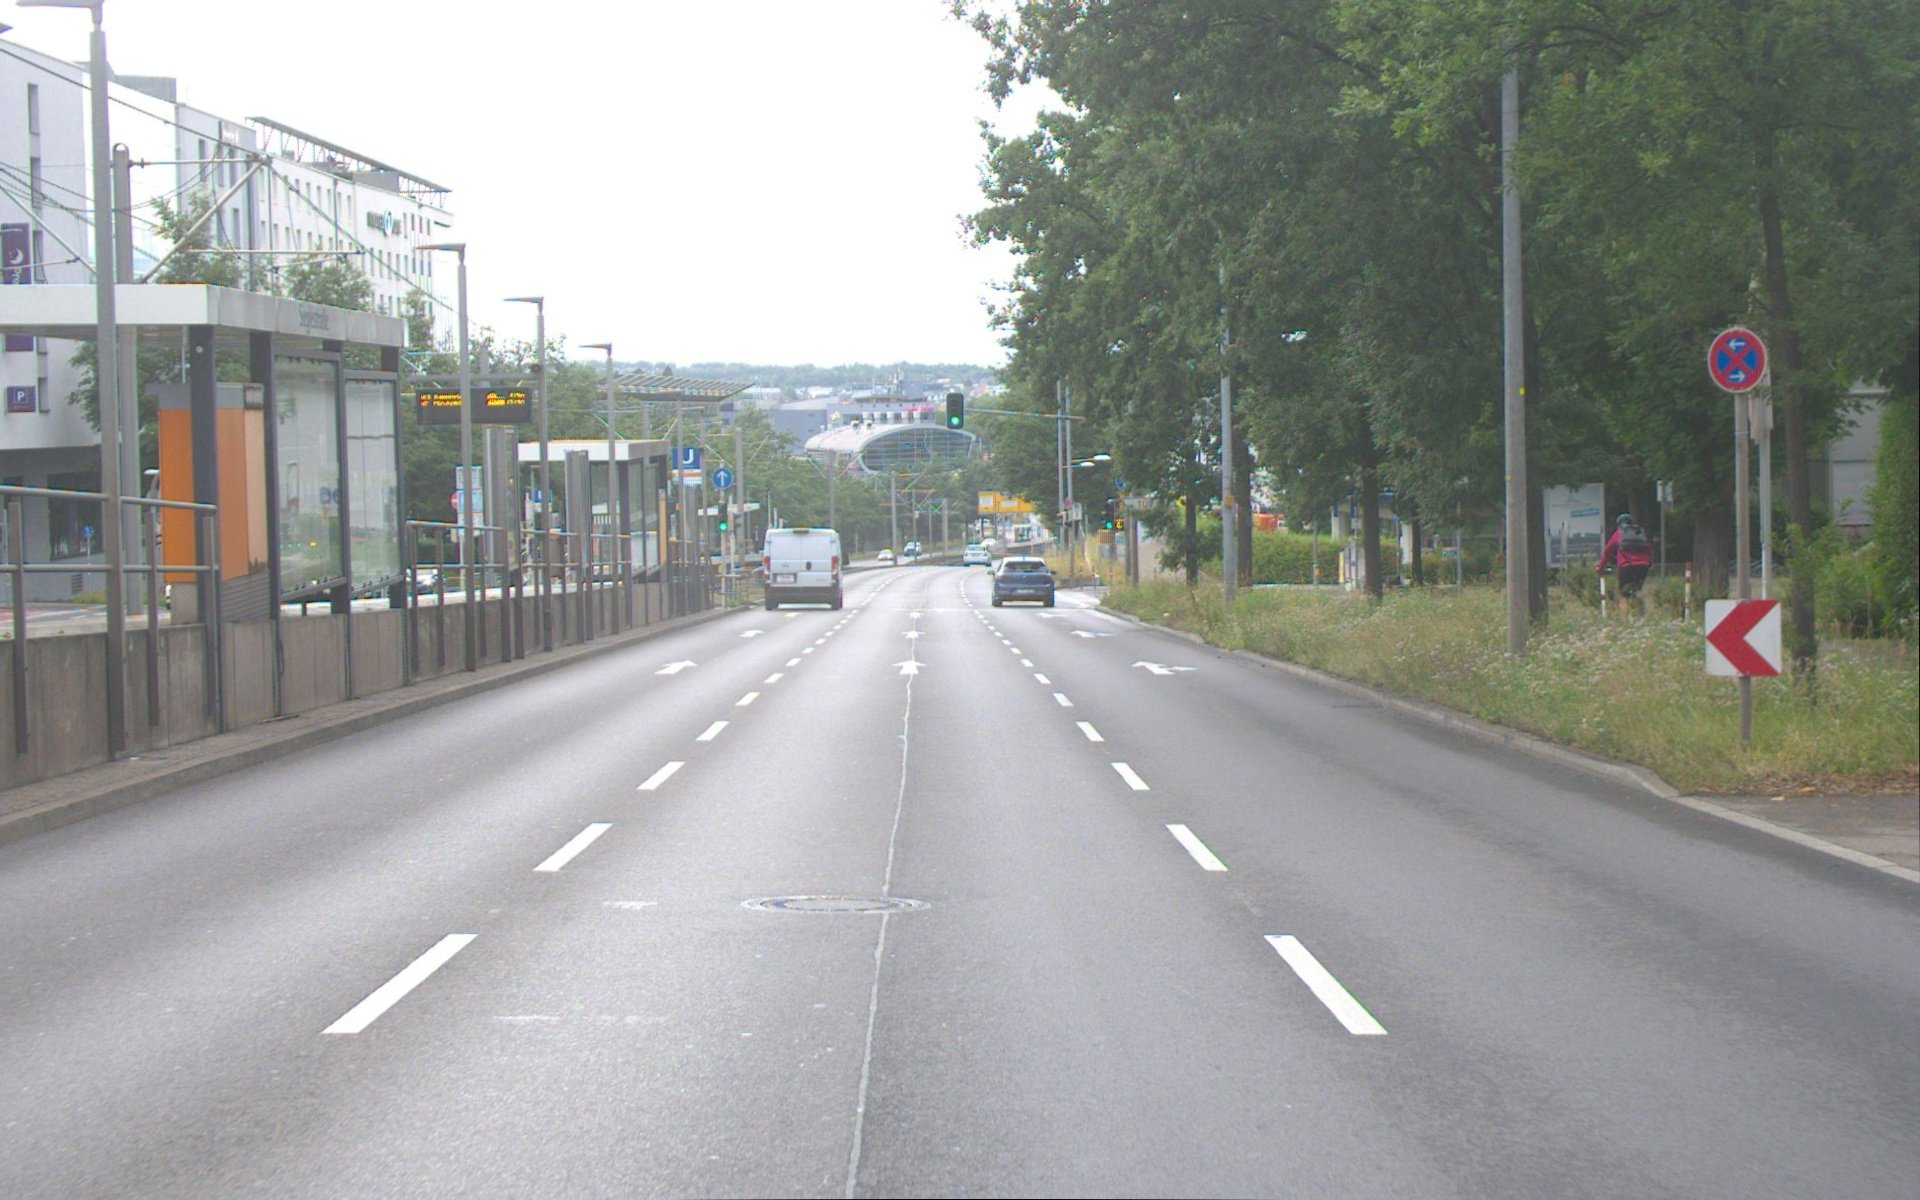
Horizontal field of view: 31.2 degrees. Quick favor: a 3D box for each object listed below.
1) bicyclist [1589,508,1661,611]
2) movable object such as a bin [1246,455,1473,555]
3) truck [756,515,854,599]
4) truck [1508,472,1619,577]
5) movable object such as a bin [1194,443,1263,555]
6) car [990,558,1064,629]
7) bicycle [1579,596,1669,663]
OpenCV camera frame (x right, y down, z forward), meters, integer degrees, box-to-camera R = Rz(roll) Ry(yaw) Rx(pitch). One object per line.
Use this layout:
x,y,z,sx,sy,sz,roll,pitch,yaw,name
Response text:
8.532,-0.521,44.137,0.655,1.284,1.219,1,1,-1,bicyclist
22.331,-5.296,192.629,12.141,5.243,3.789,-1,0,1,movable object such as a bin
-4.262,-1.179,95.290,2.360,2.254,5.305,1,0,1,truck
14.817,-1.832,84.539,1.746,2.509,4.001,1,0,-4,truck
14.129,-5.258,181.385,3.290,5.665,8.763,1,0,3,movable object such as a bin
1.984,-0.209,100.531,1.994,2.007,3.934,1,0,3,car
8.509,0.367,44.129,0.667,0.806,2.318,1,0,-1,bicycle
